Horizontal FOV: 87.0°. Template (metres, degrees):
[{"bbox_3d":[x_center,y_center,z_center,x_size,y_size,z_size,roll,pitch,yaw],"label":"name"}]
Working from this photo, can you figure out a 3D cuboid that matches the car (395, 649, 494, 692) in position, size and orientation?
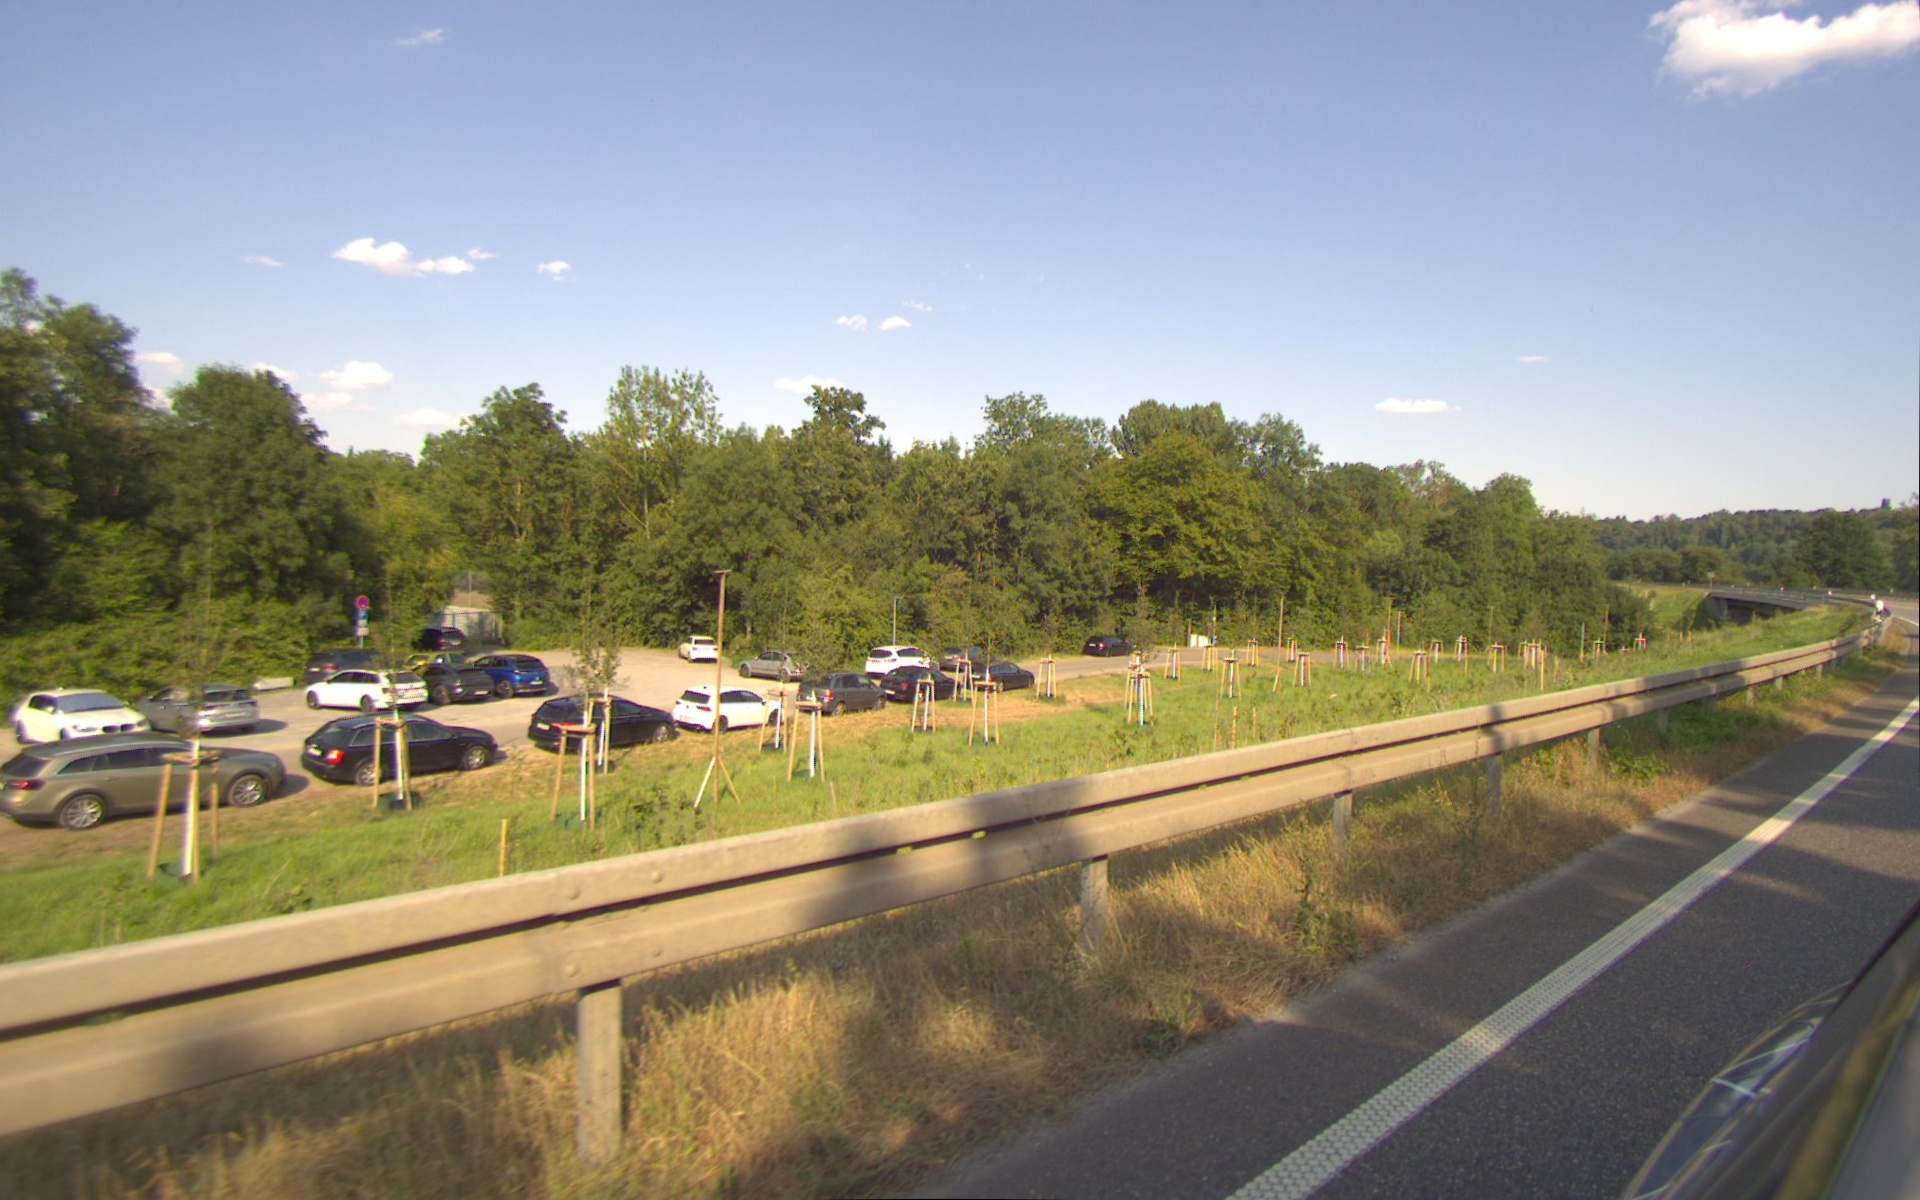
[{"bbox_3d":[-21.750,2.942,42.847,1.482,1.474,3.648,2,1,22],"label":"car"}]

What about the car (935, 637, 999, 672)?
[{"bbox_3d":[0.430,2.980,56.220,1.647,1.515,4.177,2,2,31],"label":"car"}]

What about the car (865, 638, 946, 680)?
[{"bbox_3d":[-2.705,2.936,51.445,1.649,1.687,4.652,2,2,34],"label":"car"}]

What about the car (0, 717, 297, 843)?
[{"bbox_3d":[-16.397,3.472,20.363,1.885,1.500,4.725,5,3,33],"label":"car"}]

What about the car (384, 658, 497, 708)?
[{"bbox_3d":[-19.283,3.026,37.541,4.207,1.474,1.602,1,0,28],"label":"car"}]

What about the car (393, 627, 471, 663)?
[{"bbox_3d":[-28.425,2.381,54.476,4.209,1.474,1.602,5,2,28],"label":"car"}]

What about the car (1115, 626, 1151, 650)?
[{"bbox_3d":[12.967,2.807,75.994,1.626,1.515,3.691,0,2,-8],"label":"car"}]

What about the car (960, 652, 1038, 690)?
[{"bbox_3d":[1.955,3.426,49.139,1.651,1.515,4.164,2,1,38],"label":"car"}]

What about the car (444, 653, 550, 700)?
[{"bbox_3d":[-18.404,2.991,40.184,4.207,1.474,1.602,2,1,28],"label":"car"}]

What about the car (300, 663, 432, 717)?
[{"bbox_3d":[-20.452,3.063,34.838,4.368,1.474,1.720,1,0,24],"label":"car"}]

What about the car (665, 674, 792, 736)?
[{"bbox_3d":[-7.694,3.467,33.996,1.808,1.500,4.213,3,2,29],"label":"car"}]

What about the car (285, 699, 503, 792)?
[{"bbox_3d":[-13.685,3.444,24.738,1.808,1.500,4.350,3,2,29],"label":"car"}]

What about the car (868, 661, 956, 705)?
[{"bbox_3d":[-2.000,3.515,43.505,1.808,1.418,4.213,3,2,29],"label":"car"}]

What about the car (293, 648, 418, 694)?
[{"bbox_3d":[-24.420,2.827,41.051,1.599,1.474,4.215,2,1,22],"label":"car"}]

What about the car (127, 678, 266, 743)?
[{"bbox_3d":[-22.191,3.144,29.376,4.206,1.474,1.602,0,1,28],"label":"car"}]

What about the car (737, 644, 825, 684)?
[{"bbox_3d":[-8.586,3.029,48.449,4.218,1.474,1.598,3,1,34],"label":"car"}]

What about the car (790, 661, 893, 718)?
[{"bbox_3d":[-4.531,3.408,39.288,1.808,1.679,4.213,3,2,29],"label":"car"}]

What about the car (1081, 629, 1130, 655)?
[{"bbox_3d":[10.195,2.880,70.630,1.653,1.515,3.774,2,3,40],"label":"car"}]

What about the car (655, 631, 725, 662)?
[{"bbox_3d":[-15.246,2.603,57.039,4.227,1.474,1.688,2,1,40],"label":"car"}]

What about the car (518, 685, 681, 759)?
[{"bbox_3d":[-10.383,3.458,29.444,1.808,1.500,4.350,3,2,29],"label":"car"}]

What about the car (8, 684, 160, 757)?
[{"bbox_3d":[-23.440,3.155,27.057,4.208,1.517,1.754,0,0,29],"label":"car"}]
